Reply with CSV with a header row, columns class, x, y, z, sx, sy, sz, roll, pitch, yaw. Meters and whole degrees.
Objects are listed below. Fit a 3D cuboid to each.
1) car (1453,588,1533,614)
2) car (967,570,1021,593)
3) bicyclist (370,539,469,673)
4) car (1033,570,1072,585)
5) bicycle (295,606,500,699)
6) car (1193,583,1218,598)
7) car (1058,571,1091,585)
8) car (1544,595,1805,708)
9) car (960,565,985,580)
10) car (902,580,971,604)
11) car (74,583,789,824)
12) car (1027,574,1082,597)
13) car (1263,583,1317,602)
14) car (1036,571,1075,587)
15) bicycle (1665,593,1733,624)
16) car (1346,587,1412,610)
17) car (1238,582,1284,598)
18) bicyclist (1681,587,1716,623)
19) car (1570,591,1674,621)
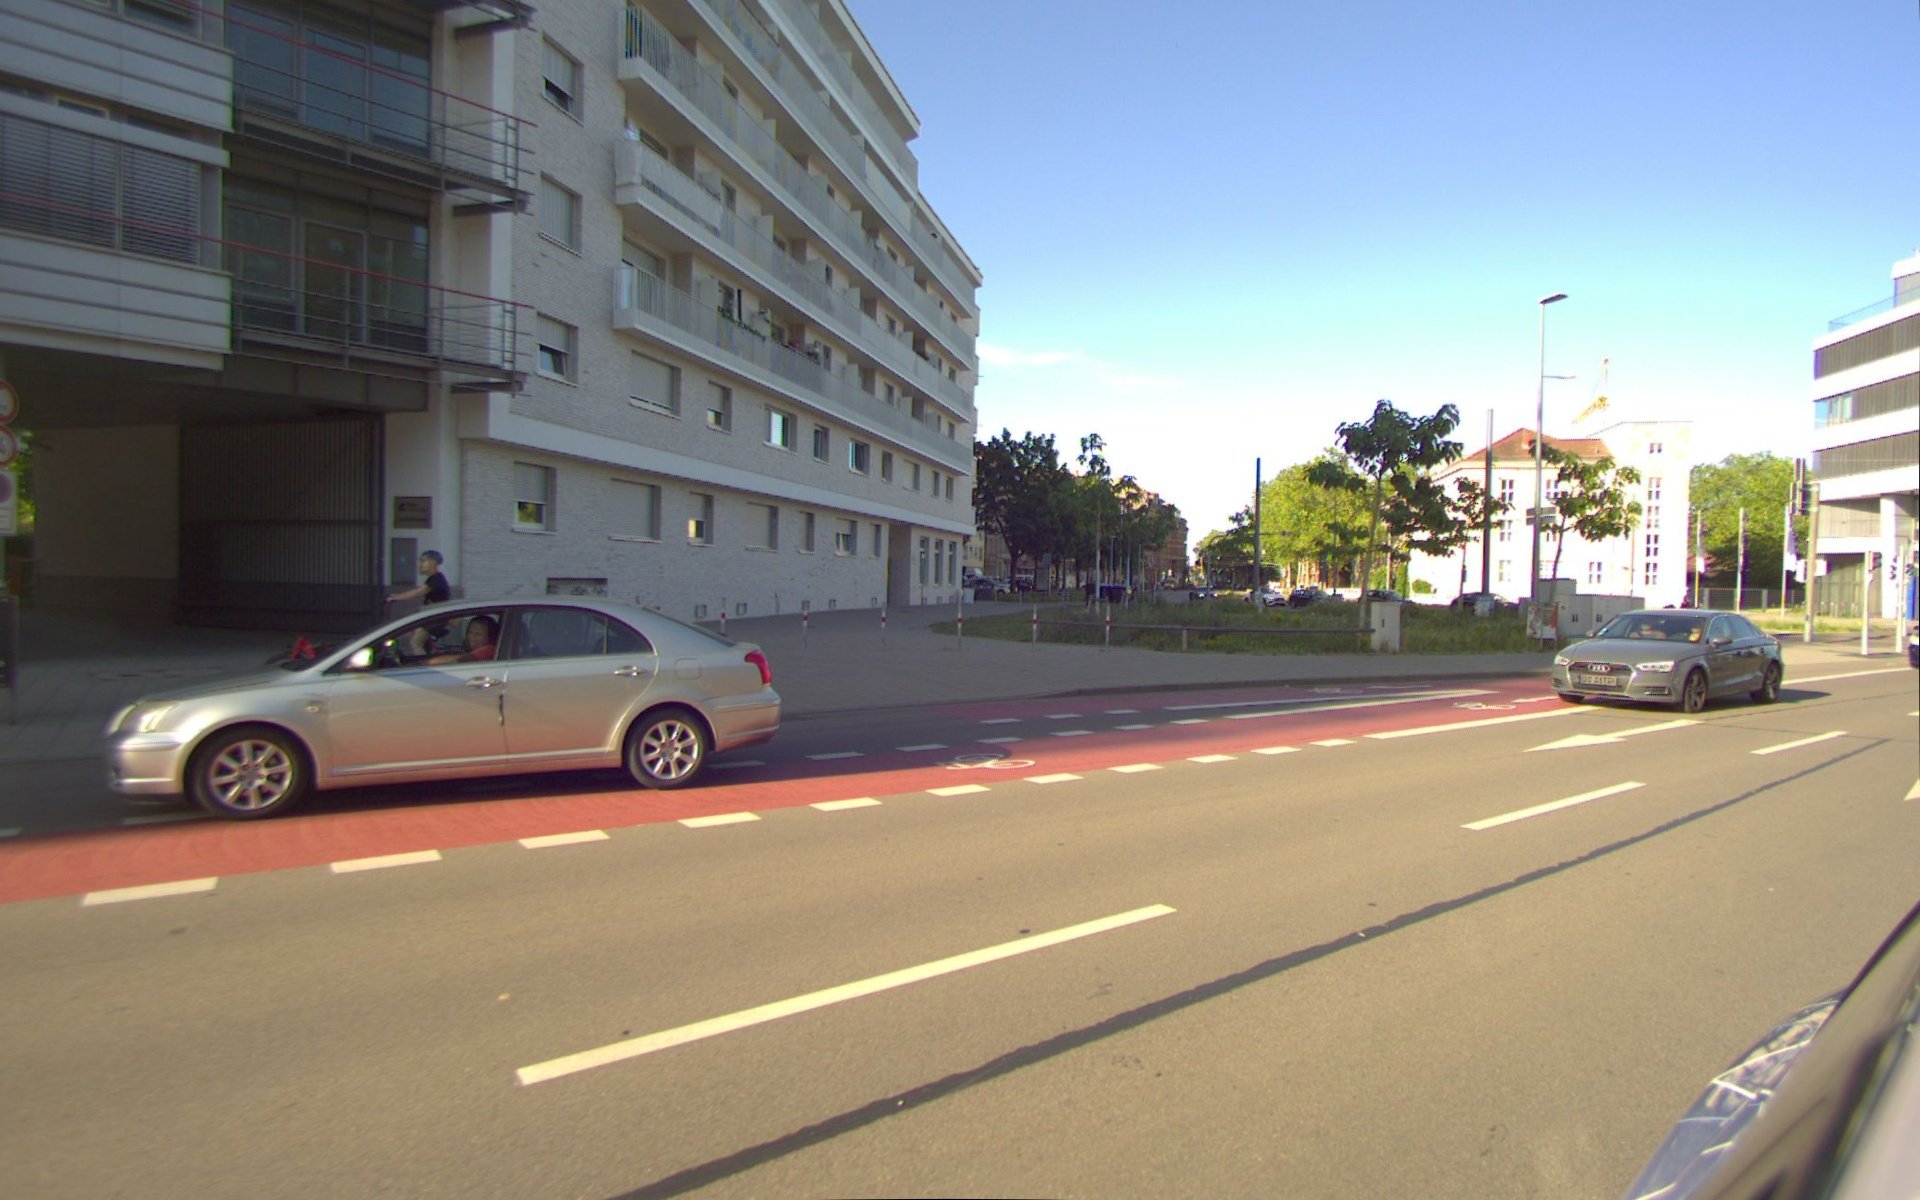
class,x,y,z,sx,sy,sz,roll,pitch,yaw
car,32.186,0.041,61.227,1.958,1.439,4.009,0,1,-19
car,2.777,-1.508,82.140,3.918,1.738,2.004,0,1,-27
bicyclist,-6.679,0.057,12.510,1.023,1.586,0.627,0,1,-33
car,10.801,-2.618,118.201,4.172,1.738,2.005,1,1,-14
bicycle,-6.846,0.606,12.404,2.162,1.045,0.501,0,1,-32
car,23.327,-0.939,96.406,1.902,1.393,3.991,1,1,8
car,15.318,-2.943,135.579,3.915,1.838,2.005,0,1,-17
car,10.638,0.667,15.004,4.030,1.459,1.717,0,1,-32
car,1.464,-3.125,115.198,1.971,1.738,4.244,1,1,14
car,-1.508,-0.526,64.358,3.964,1.415,1.980,2,1,29
car,-3.715,0.632,7.836,4.396,1.449,1.759,0,0,-26
car,7.565,-1.148,80.794,3.918,1.738,2.004,0,1,-27
car,25.897,-0.615,79.594,1.958,1.439,4.536,1,1,-13
car,10.945,-2.435,115.461,3.916,1.738,2.005,1,1,-21
bicycle,34.487,0.391,47.252,0.932,1.328,2.376,0,1,-26
car,28.648,-0.131,69.304,1.958,1.439,4.009,0,1,-19
car,24.996,-0.857,84.107,1.958,1.259,4.008,1,1,-11
bicyclist,34.496,0.230,47.271,0.861,1.627,1.010,0,1,-26
car,35.123,0.317,53.841,1.958,1.439,4.305,0,1,-19
